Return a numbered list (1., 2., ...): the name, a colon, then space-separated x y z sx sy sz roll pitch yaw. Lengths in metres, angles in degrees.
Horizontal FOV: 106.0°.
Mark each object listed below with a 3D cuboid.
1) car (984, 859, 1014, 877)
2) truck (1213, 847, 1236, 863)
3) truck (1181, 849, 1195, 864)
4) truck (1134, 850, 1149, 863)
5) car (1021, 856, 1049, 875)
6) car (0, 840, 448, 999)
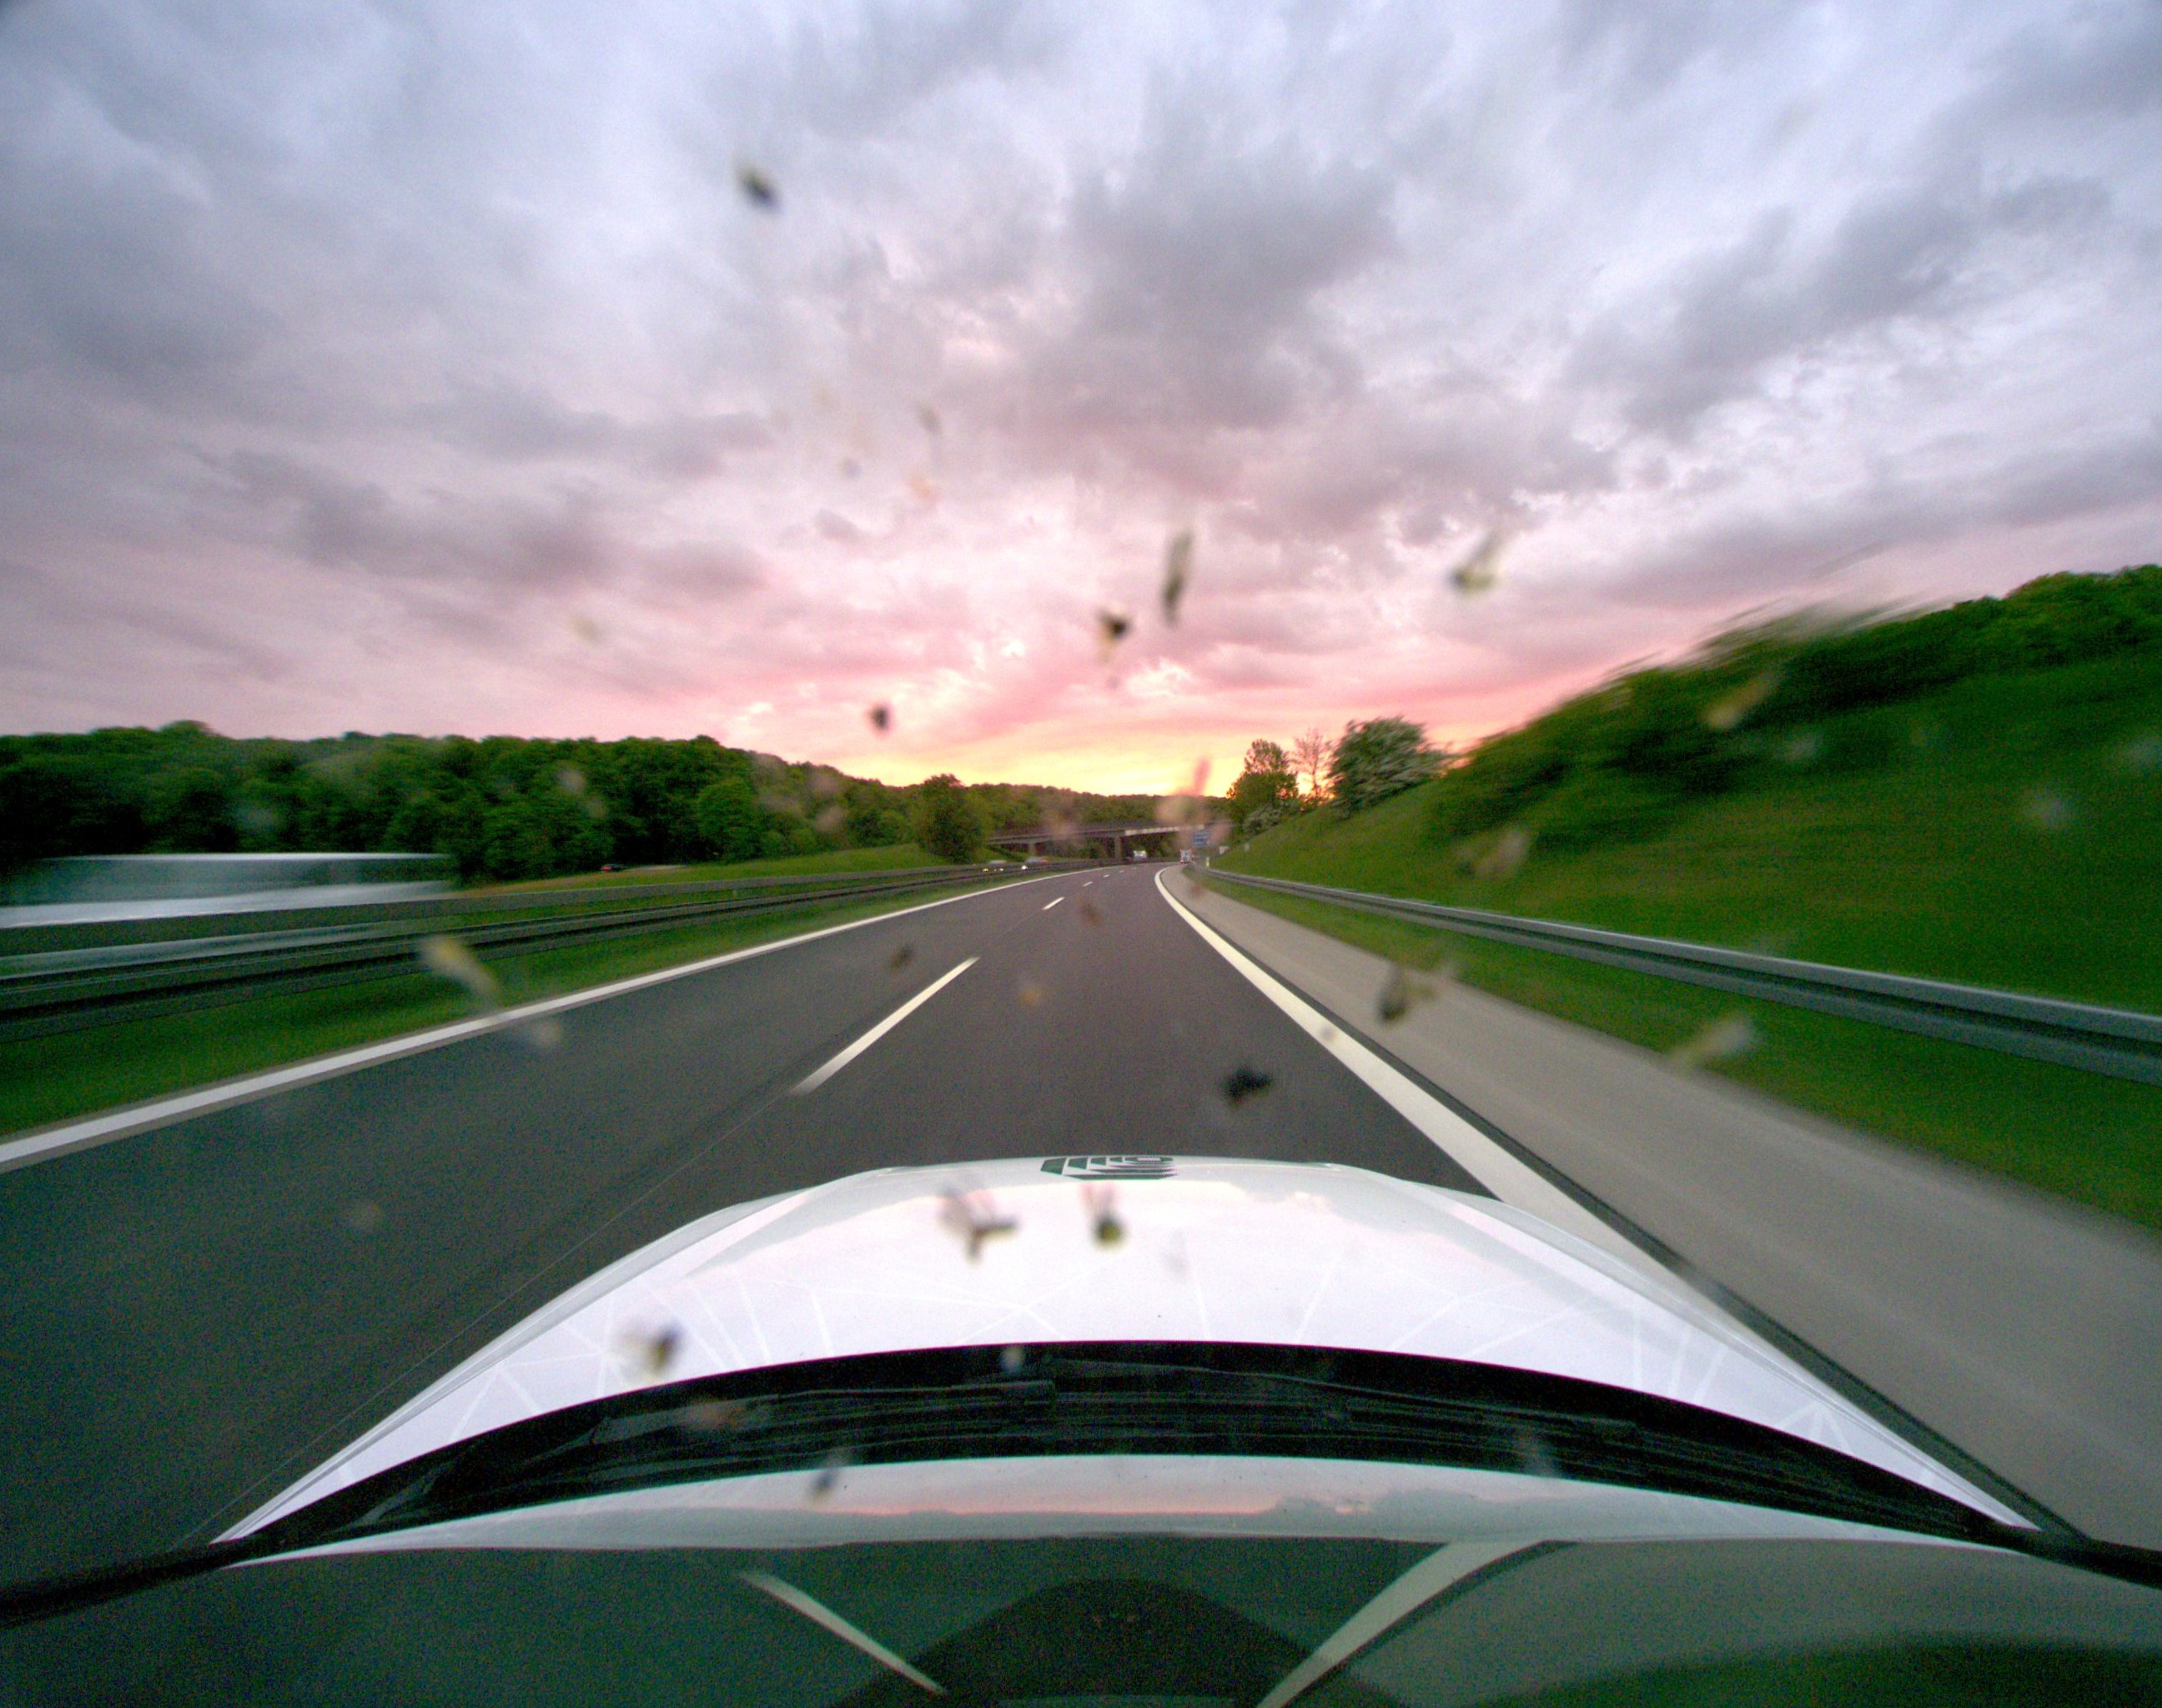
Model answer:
1. car: -8.382 1.395 83.335 2.014 1.659 4.681 -2 0 7
2. truck: 39.819 0.318 225.918 3.926 4.287 14.392 -2 0 19
3. truck: 21.111 0.455 160.855 2.261 2.665 5.254 -3 1 12
4. truck: 15.097 0.530 203.020 2.593 3.110 6.693 -1 0 14
5. car: -4.850 1.241 86.852 2.091 1.872 5.142 -2 0 7
6. car: -14.468 0.930 14.268 2.273 2.013 5.261 -7 0 2
